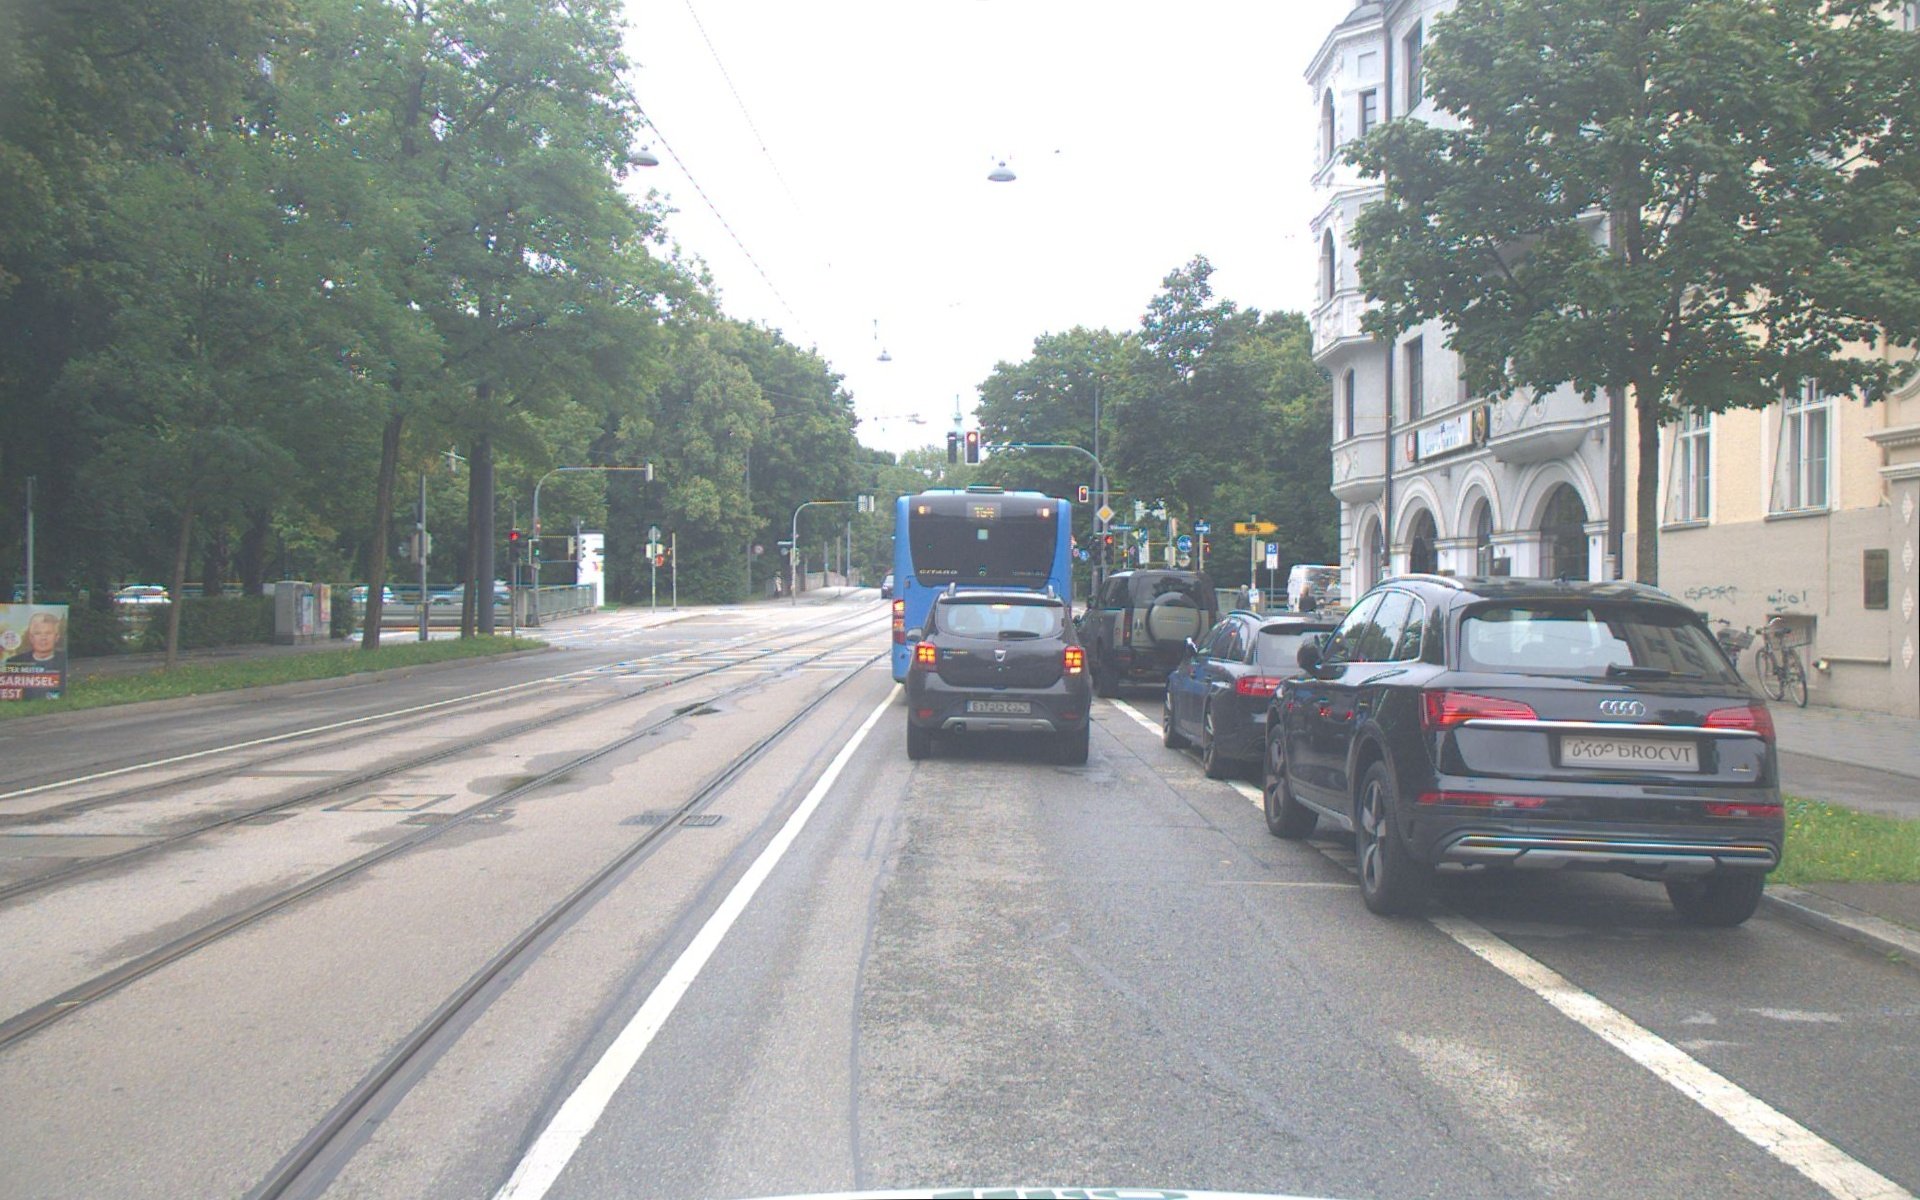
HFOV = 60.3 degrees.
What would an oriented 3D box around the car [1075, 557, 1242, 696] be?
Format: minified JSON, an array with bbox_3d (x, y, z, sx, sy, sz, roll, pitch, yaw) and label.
[{"bbox_3d":[3.007,0.377,26.090,1.875,1.939,4.806,2,0,-2],"label":"car"}]

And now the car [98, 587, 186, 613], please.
[{"bbox_3d":[-40.416,0.004,81.747,3.655,1.206,1.249,2,0,-5],"label":"car"}]

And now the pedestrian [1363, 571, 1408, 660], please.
[{"bbox_3d":[9.022,0.319,35.100,0.690,1.848,0.870,2,0,0],"label":"pedestrian"}]

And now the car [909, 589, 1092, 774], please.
[{"bbox_3d":[0.351,0.715,16.299,1.568,1.584,3.525,2,0,0],"label":"car"}]

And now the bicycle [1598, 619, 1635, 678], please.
[{"bbox_3d":[10.795,0.793,27.207,0.254,0.947,0.886,2,0,1],"label":"bicycle"}]

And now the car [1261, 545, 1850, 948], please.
[{"bbox_3d":[2.959,0.628,9.326,1.738,1.687,4.488,1,0,1],"label":"car"}]

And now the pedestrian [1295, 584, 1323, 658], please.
[{"bbox_3d":[9.886,0.593,46.823,0.658,2.049,0.716,2,0,6],"label":"pedestrian"}]

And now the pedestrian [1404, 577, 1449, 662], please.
[{"bbox_3d":[9.901,0.406,35.120,0.690,1.762,0.843,2,0,0],"label":"pedestrian"}]

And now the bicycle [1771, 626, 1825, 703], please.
[{"bbox_3d":[10.670,0.814,21.074,0.217,0.947,0.885,2,0,-1],"label":"bicycle"}]

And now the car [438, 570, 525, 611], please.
[{"bbox_3d":[-24.006,-0.450,83.033,3.945,1.920,1.488,2,0,-6],"label":"car"}]

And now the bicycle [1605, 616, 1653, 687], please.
[{"bbox_3d":[10.373,0.792,25.682,0.237,1.057,1.223,2,0,0],"label":"bicycle"}]

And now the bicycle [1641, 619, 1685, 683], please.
[{"bbox_3d":[10.756,0.774,25.309,0.299,0.947,0.886,2,0,2],"label":"bicycle"}]

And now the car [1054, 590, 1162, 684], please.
[{"bbox_3d":[2.760,0.664,31.674,1.679,1.619,4.327,2,0,0],"label":"car"}]

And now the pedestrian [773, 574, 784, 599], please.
[{"bbox_3d":[-10.997,-0.817,100.461,0.520,1.527,0.588,2,0,5],"label":"pedestrian"}]

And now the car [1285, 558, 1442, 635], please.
[{"bbox_3d":[14.838,-0.130,61.031,5.190,2.658,2.229,2,0,-3],"label":"car"}]

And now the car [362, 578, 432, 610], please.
[{"bbox_3d":[-28.139,-0.311,82.647,3.049,1.477,1.249,2,0,-5],"label":"car"}]

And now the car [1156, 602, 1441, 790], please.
[{"bbox_3d":[2.977,0.767,15.491,1.681,1.451,4.602,2,0,0],"label":"car"}]

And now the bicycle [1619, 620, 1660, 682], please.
[{"bbox_3d":[10.792,0.807,26.270,0.284,0.947,0.886,2,0,1],"label":"bicycle"}]

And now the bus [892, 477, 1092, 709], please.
[{"bbox_3d":[0.352,-0.091,25.838,2.625,3.050,6.959,2,0,-2],"label":"bus"}]

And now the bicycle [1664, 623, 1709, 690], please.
[{"bbox_3d":[10.691,0.821,24.339,0.267,0.947,0.886,2,0,1],"label":"bicycle"}]

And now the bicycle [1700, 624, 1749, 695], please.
[{"bbox_3d":[10.628,0.818,23.003,0.279,0.947,0.886,2,0,1],"label":"bicycle"}]
